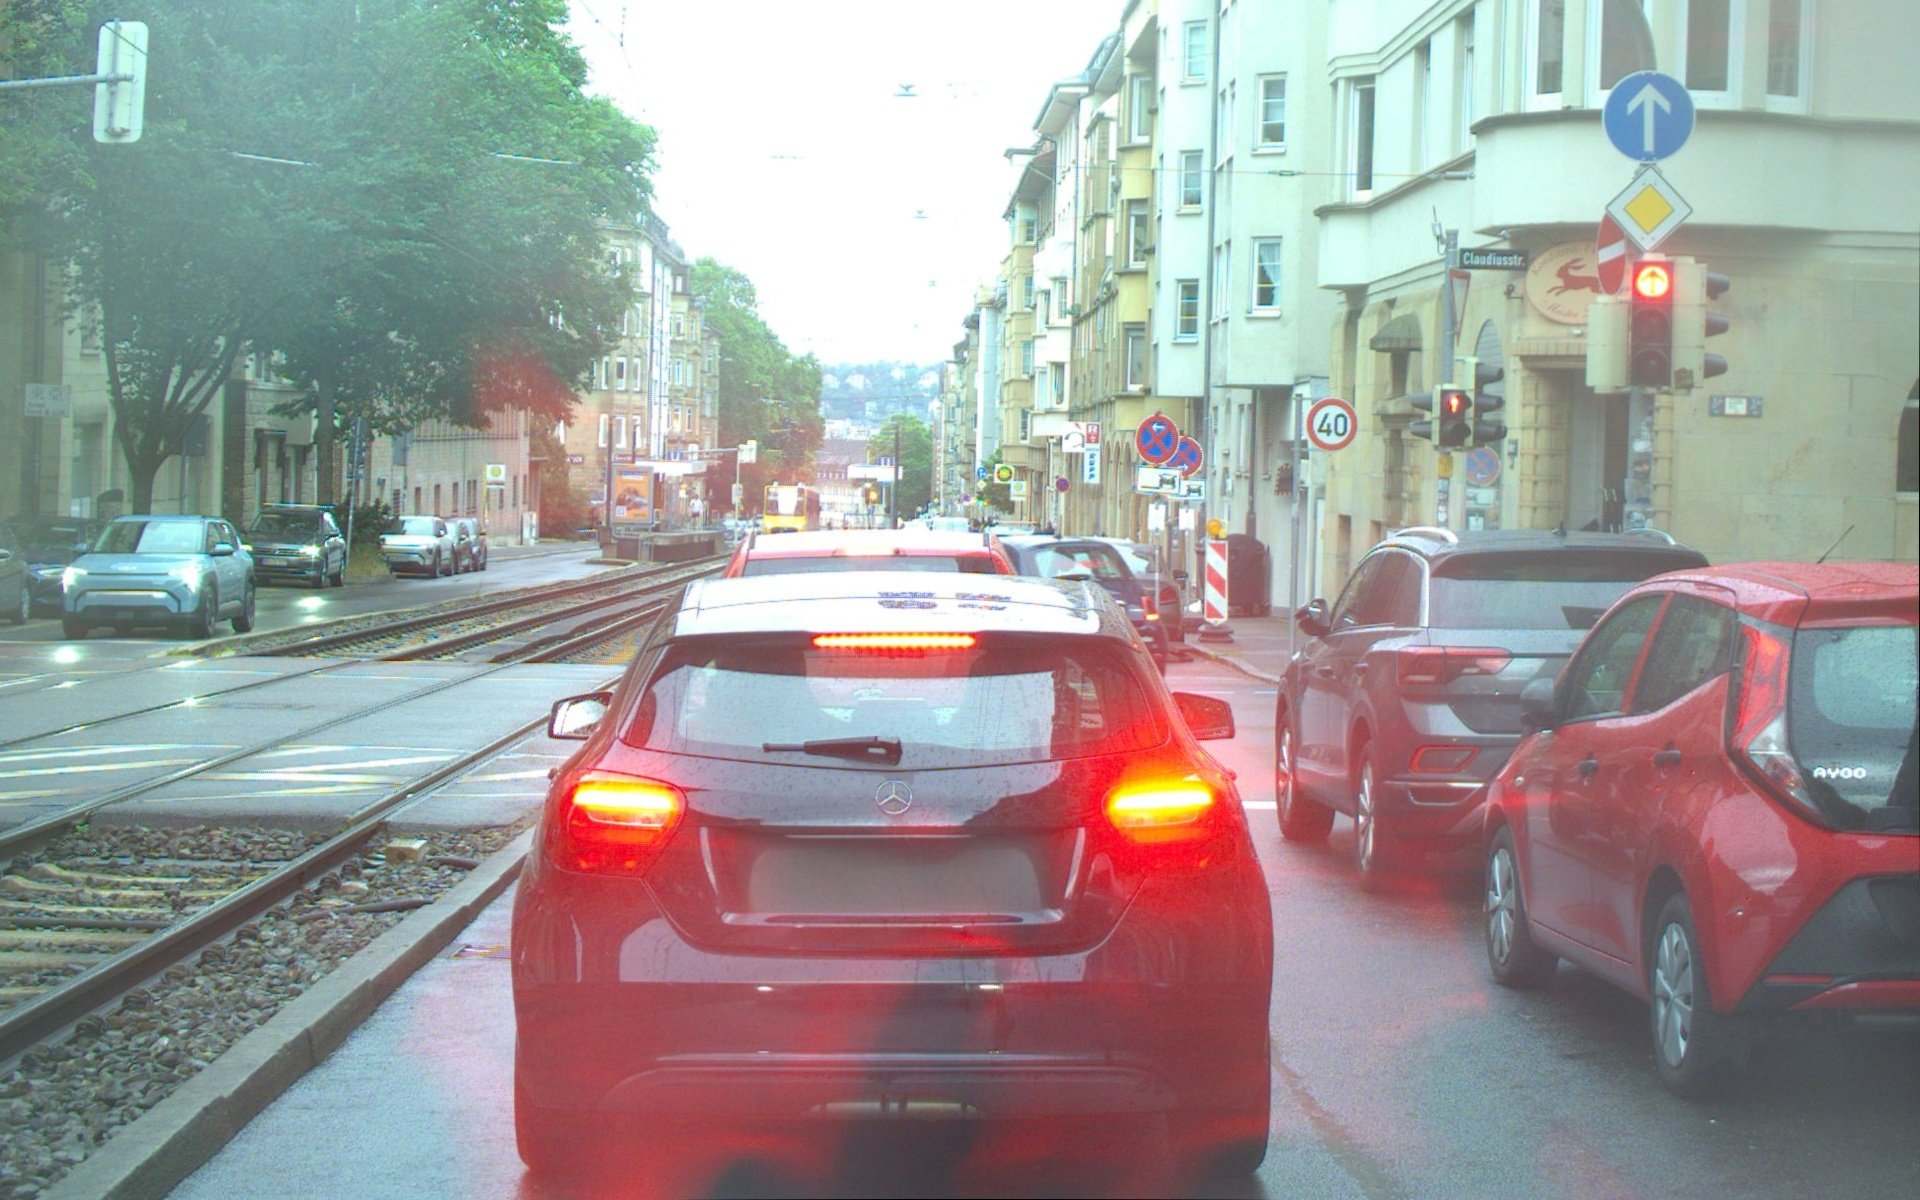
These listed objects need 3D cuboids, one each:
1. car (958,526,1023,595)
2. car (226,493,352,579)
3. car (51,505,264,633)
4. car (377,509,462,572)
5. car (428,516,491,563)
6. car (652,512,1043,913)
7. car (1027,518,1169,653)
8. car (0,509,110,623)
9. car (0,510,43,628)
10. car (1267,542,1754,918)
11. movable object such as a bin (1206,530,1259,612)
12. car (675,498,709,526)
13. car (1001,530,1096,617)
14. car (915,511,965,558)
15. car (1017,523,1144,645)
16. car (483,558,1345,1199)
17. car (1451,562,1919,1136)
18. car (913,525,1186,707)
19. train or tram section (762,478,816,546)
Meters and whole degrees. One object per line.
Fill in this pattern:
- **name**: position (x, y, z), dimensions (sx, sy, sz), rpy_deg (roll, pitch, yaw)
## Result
- **car**: position (0.637, -0.854, 73.585), dimensions (1.294, 1.437, 2.929), rpy_deg (1, 1, -1)
- **car**: position (-13.954, -1.317, 71.693), dimensions (1.875, 1.731, 3.918), rpy_deg (1, 0, -1)
- **car**: position (-10.457, -0.407, 45.070), dimensions (1.898, 1.582, 3.973), rpy_deg (1, 0, -1)
- **car**: position (-13.991, -1.535, 89.156), dimensions (1.589, 1.575, 3.918), rpy_deg (1, 0, -1)
- **car**: position (-14.334, -1.721, 98.566), dimensions (1.448, 1.326, 3.272), rpy_deg (1, 0, -2)
- **car**: position (-0.479, 0.440, 15.835), dimensions (1.565, 1.604, 3.814), rpy_deg (1, 0, -1)
- **car**: position (1.669, -0.206, 42.631), dimensions (1.544, 1.585, 3.548), rpy_deg (1, 1, -1)
- **car**: position (-13.734, -0.511, 50.715), dimensions (1.716, 1.605, 3.919), rpy_deg (1, 0, -5)
- **car**: position (-13.482, -0.423, 45.684), dimensions (1.752, 1.547, 4.036), rpy_deg (1, 0, -4)
- **car**: position (2.386, 0.491, 15.754), dimensions (1.544, 1.481, 3.830), rpy_deg (1, 1, -1)
- **movable object such as a bin**: position (4.714, -0.501, 59.563), dimensions (0.878, 1.384, 0.982), rpy_deg (1, 0, 3)
- **car**: position (-12.325, -4.040, 158.268), dimensions (1.377, 1.245, 3.298), rpy_deg (1, 0, -2)
- **car**: position (1.556, -0.496, 61.516), dimensions (1.544, 1.481, 3.548), rpy_deg (1, 1, -1)
- **car**: position (-0.848, -2.677, 141.998), dimensions (1.993, 1.870, 4.000), rpy_deg (1, 0, -1)
- **car**: position (1.614, -0.243, 47.106), dimensions (1.544, 1.585, 3.548), rpy_deg (1, 1, -1)
- **car**: position (-0.126, 0.642, 9.448), dimensions (1.829, 1.453, 4.104), rpy_deg (1, 1, -1)
- **car**: position (2.649, 0.635, 10.516), dimensions (1.642, 1.443, 3.299), rpy_deg (1, 1, -3)
- **car**: position (0.796, 0.111, 32.933), dimensions (1.544, 1.630, 3.687), rpy_deg (1, 1, -16)
- **train or tram section**: position (-10.216, -5.239, 206.674), dimensions (2.783, 3.847, 10.430), rpy_deg (1, 0, -1)
